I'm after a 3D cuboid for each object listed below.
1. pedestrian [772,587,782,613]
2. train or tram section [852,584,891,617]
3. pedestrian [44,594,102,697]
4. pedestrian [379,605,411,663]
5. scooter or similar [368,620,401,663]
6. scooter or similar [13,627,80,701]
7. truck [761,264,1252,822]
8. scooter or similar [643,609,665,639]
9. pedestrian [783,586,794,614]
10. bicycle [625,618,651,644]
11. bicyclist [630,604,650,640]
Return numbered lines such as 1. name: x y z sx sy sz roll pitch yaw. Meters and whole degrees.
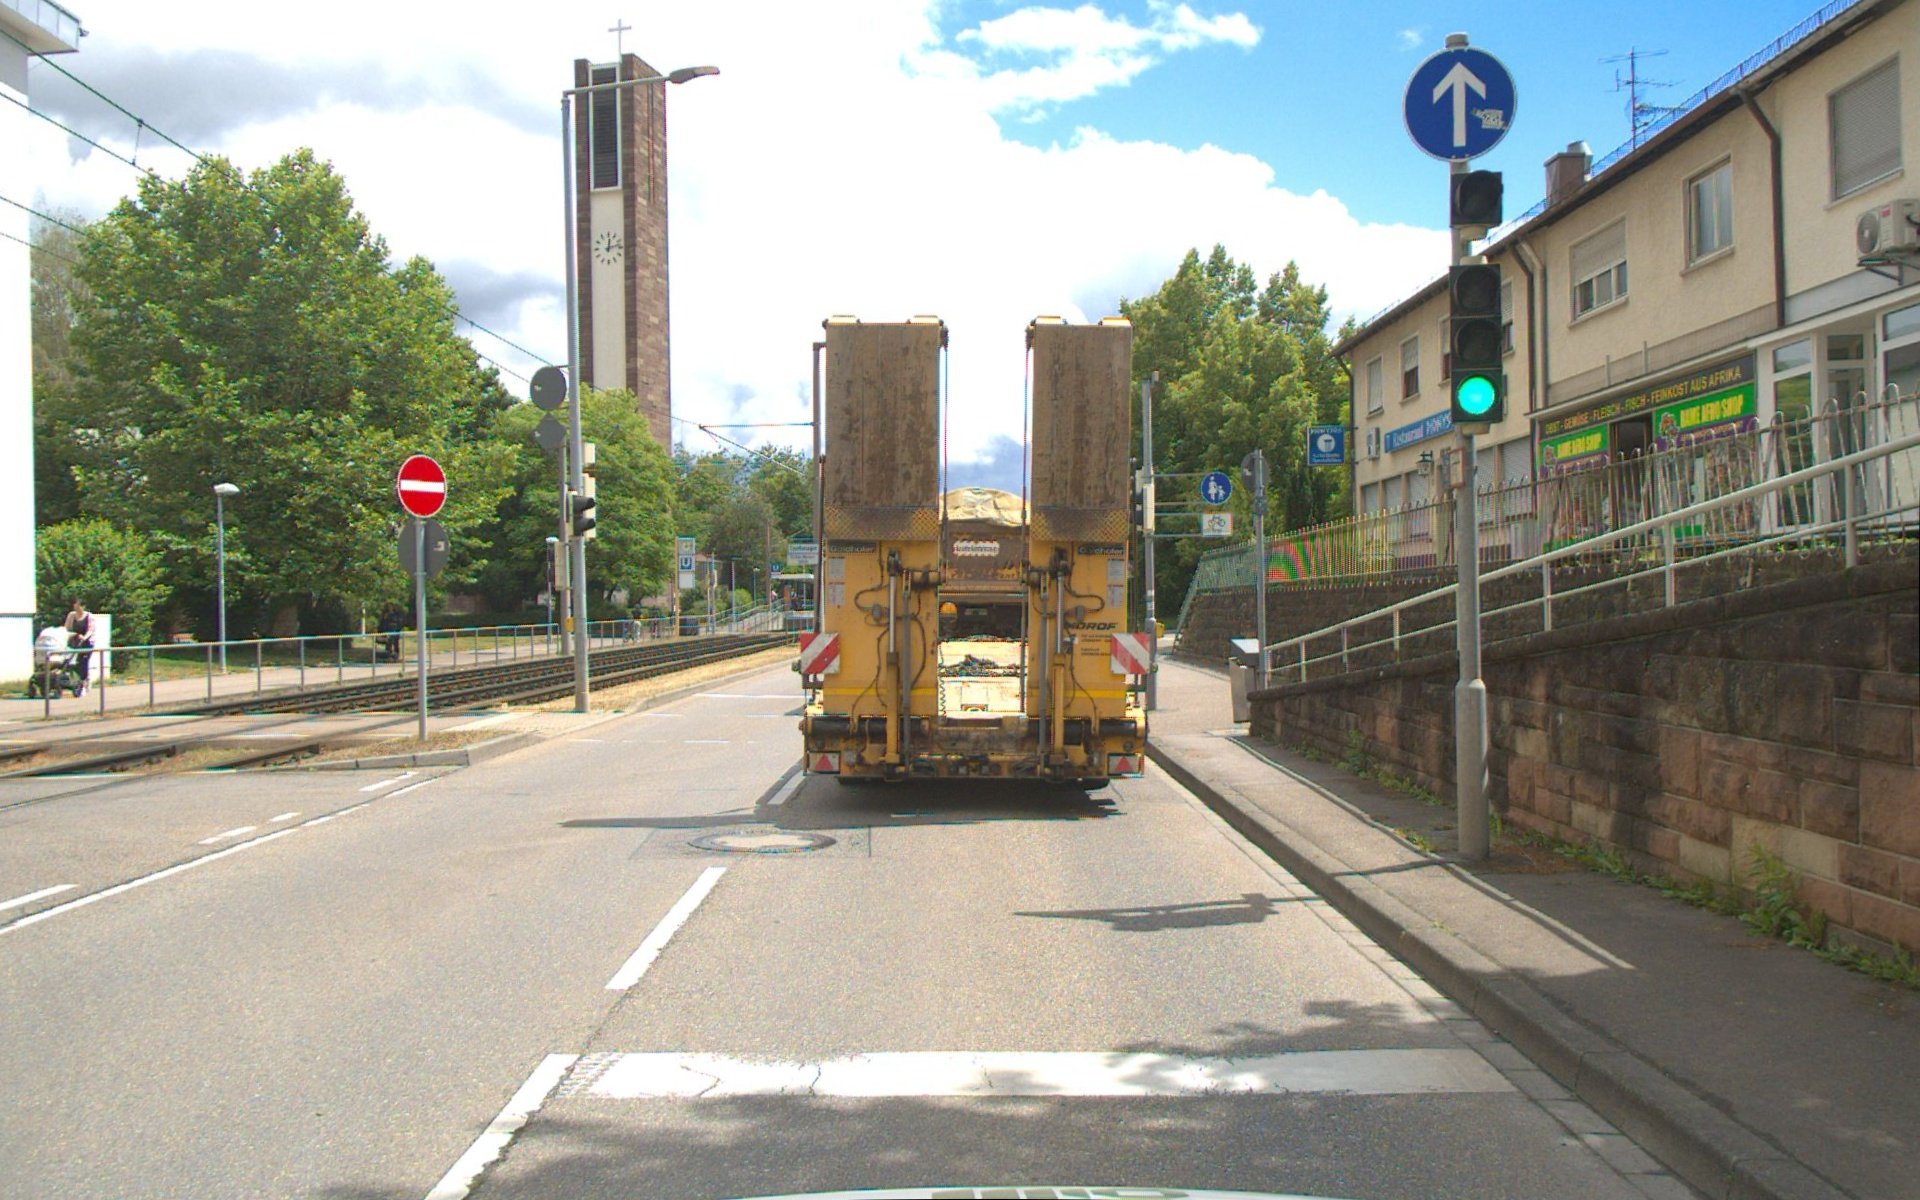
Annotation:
1. pedestrian: -12.842 0.001 116.137 0.572 1.809 0.576 1 -1 1
2. train or tram section: -9.908 0.102 187.395 3.044 3.525 18.827 1 0 1
3. pedestrian: -15.137 0.772 28.236 0.632 1.722 0.679 0 -1 1
4. pedestrian: -15.558 0.932 45.551 0.600 1.567 0.874 0 -1 -1
5. scooter or similar: -15.546 1.120 44.695 0.592 1.134 0.821 0 -1 -1
6. scooter or similar: -15.149 1.055 27.445 0.595 1.183 0.892 -1 -1 1
7. truck: 0.193 -0.366 18.240 3.333 3.798 13.734 -1 0 -1
8. scooter or similar: -13.608 1.058 73.543 0.636 1.258 1.401 1 0 2
9. pedestrian: -12.598 0.013 121.405 0.697 2.049 0.732 1 -1 -1
10. bicycle: -13.132 1.252 67.399 0.624 1.011 1.928 1 0 1
11. bicyclist: -13.120 0.902 67.800 0.620 1.454 0.790 1 -1 1
